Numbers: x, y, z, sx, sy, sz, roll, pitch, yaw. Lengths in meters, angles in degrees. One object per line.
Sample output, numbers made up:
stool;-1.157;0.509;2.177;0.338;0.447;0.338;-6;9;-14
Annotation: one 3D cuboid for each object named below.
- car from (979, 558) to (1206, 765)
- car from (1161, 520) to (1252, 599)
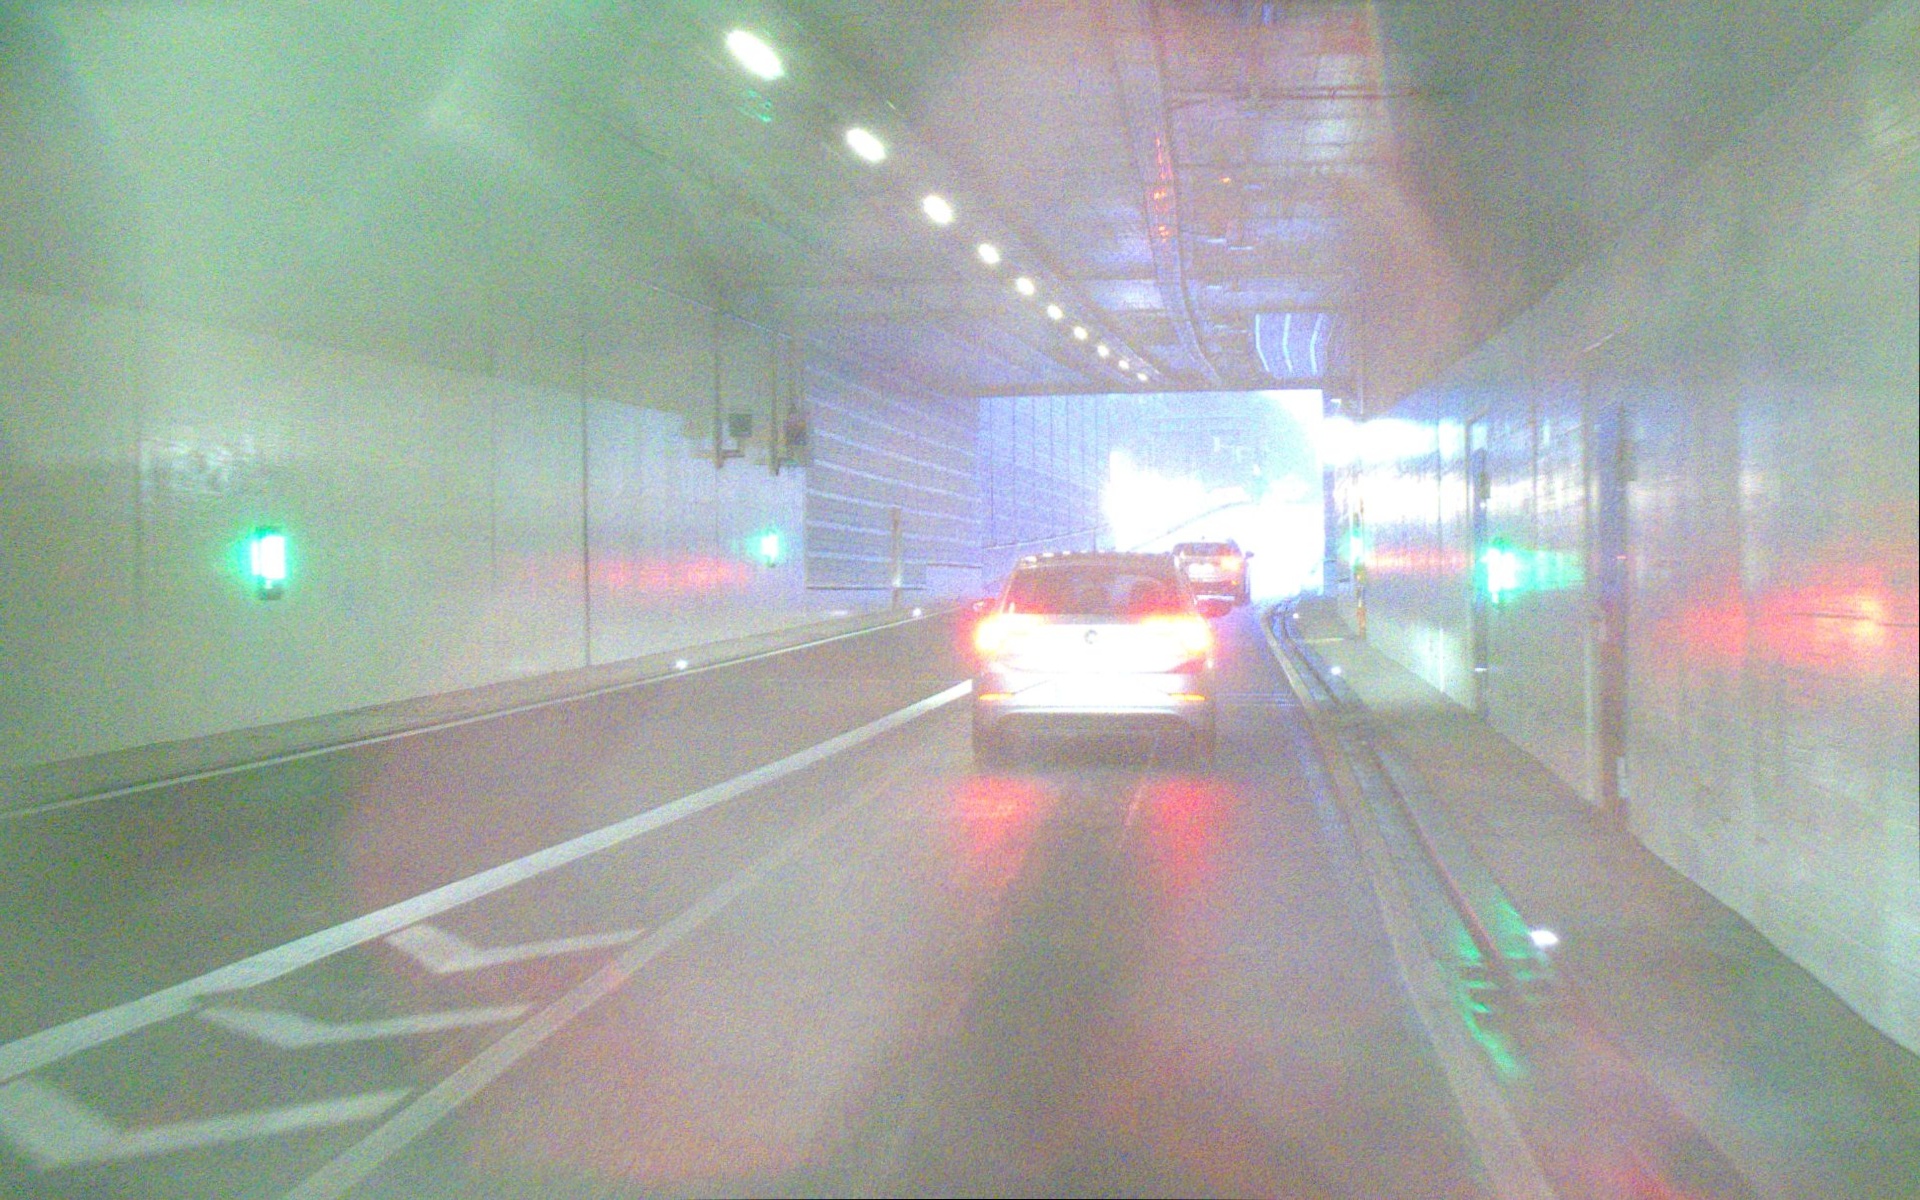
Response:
car;0.998;0.411;25.216;1.532;1.392;3.433;1;0;3
car;5.427;-0.863;75.248;1.881;1.615;3.999;1;-1;5
